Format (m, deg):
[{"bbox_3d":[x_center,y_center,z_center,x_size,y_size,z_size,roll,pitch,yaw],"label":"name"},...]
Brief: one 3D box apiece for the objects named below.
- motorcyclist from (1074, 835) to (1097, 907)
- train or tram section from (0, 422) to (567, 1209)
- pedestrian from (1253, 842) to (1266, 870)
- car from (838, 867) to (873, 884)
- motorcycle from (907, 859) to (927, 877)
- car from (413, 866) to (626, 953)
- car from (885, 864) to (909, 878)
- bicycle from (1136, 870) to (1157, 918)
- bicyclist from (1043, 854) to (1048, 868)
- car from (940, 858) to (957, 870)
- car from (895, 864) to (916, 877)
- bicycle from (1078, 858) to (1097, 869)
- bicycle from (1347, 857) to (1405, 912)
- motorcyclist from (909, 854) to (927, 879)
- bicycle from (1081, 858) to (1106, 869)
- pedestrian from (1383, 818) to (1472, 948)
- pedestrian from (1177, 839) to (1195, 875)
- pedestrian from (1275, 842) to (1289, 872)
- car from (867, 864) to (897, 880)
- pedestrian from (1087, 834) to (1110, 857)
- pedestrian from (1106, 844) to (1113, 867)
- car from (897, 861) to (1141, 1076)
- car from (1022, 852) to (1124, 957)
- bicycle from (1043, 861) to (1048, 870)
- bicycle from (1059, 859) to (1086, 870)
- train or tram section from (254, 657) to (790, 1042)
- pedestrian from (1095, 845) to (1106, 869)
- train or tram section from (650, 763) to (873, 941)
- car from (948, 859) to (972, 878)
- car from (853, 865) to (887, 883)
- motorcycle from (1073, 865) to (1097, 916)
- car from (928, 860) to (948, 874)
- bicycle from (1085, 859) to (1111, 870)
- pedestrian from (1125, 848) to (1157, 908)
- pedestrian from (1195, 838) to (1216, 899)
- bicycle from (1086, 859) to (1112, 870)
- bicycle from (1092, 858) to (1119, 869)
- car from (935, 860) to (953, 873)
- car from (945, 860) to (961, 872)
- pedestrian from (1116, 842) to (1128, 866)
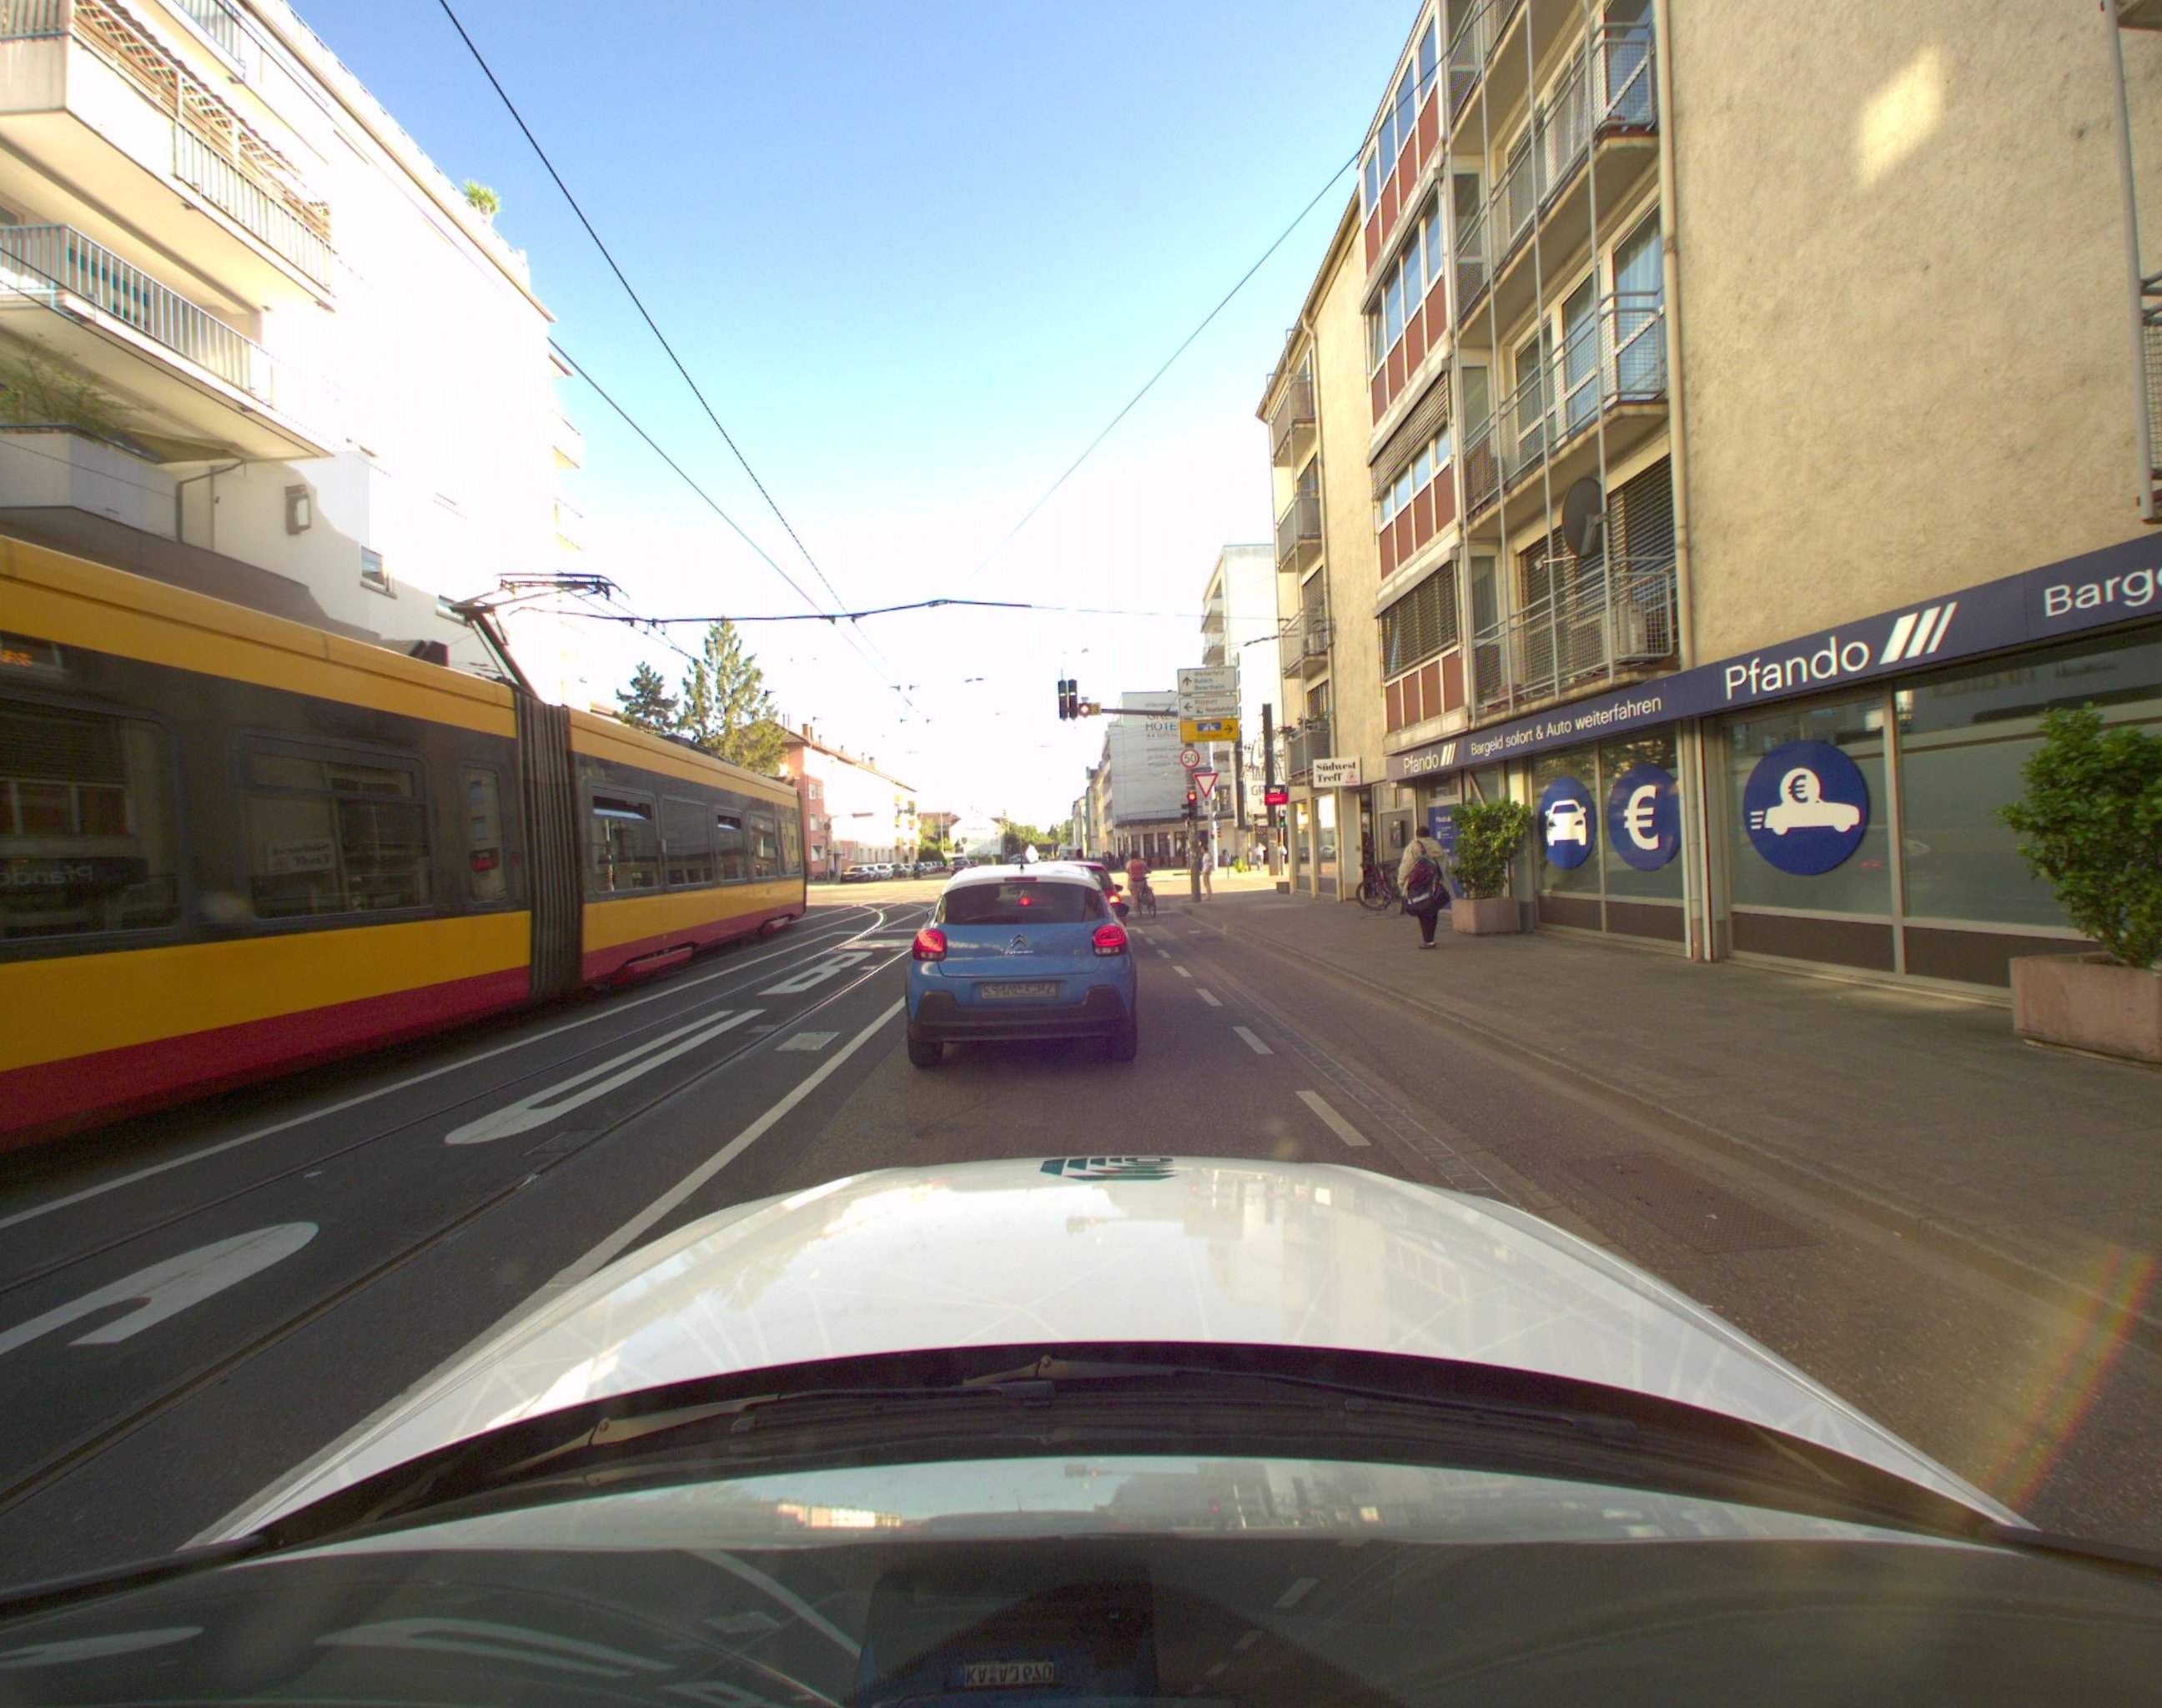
[{"bbox_3d":[0.120,0.402,19.756,0.524,1.716,0.717,0,-1,2],"label":"motorcyclist"},{"bbox_3d":[-6.392,-0.136,1.403,3.053,3.593,12.623,-3,0,-1],"label":"train or tram section"},{"bbox_3d":[10.437,0.126,47.703,0.731,1.601,0.751,-1,-1,12],"label":"pedestrian"},{"bbox_3d":[-19.188,1.818,69.426,1.787,1.421,3.996,0,-1,1],"label":"car"},{"bbox_3d":[-13.543,1.150,67.256,0.921,1.486,3.724,0,-1,-1],"label":"motorcycle"},{"bbox_3d":[-11.974,1.106,17.756,1.864,1.531,4.068,-2,0,-2],"label":"car"},{"bbox_3d":[-19.553,1.779,86.726,1.781,1.498,3.998,0,-1,-1],"label":"car"},{"bbox_3d":[1.650,0.975,20.604,0.426,1.123,1.999,0,-1,2],"label":"bicycle"},{"bbox_3d":[-3.592,0.717,82.340,0.560,1.477,0.746,0,-1,-5],"label":"bicyclist"},{"bbox_3d":[-19.017,1.425,117.316,1.828,1.687,3.998,0,-1,-1],"label":"car"},{"bbox_3d":[-19.965,1.857,92.844,1.728,1.498,3.996,0,-1,-2],"label":"car"},{"bbox_3d":[0.536,0.821,69.510,1.765,0.901,0.369,-1,-1,36],"label":"bicycle"},{"bbox_3d":[5.696,0.568,15.815,0.540,0.998,1.706,0,-1,2],"label":"bicycle"},{"bbox_3d":[-13.514,1.052,67.531,1.182,2.013,1.275,-2,0,-1],"label":"motorcyclist"},{"bbox_3d":[1.059,0.821,68.429,2.130,0.901,0.366,0,-1,-7],"label":"bicycle"},{"bbox_3d":[4.420,0.362,10.429,0.822,1.593,0.751,0,-1,1],"label":"pedestrian"},{"bbox_3d":[6.047,0.172,46.988,0.922,2.014,0.760,0,-1,1],"label":"pedestrian"},{"bbox_3d":[11.540,0.182,46.680,0.747,1.657,0.886,-1,-1,12],"label":"pedestrian"},{"bbox_3d":[-19.415,1.746,79.629,1.781,1.511,4.150,0,-1,1],"label":"car"},{"bbox_3d":[1.632,-0.726,73.697,1.986,2.014,4.001,0,-1,2],"label":"pedestrian"},{"bbox_3d":[2.490,0.145,70.430,0.575,2.014,0.625,0,-1,-1],"label":"pedestrian"},{"bbox_3d":[-0.368,0.795,7.298,1.648,1.444,3.524,0,-1,2],"label":"car"},{"bbox_3d":[-0.068,0.753,13.327,1.419,1.467,2.925,-2,-1,2],"label":"car"},{"bbox_3d":[-3.598,1.130,82.370,0.348,0.903,1.855,0,-1,-6],"label":"bicycle"},{"bbox_3d":[-0.709,0.878,66.411,2.130,0.901,0.366,0,-1,-7],"label":"bicycle"},{"bbox_3d":[-6.941,-0.030,12.368,2.823,3.631,9.061,0,0,-7],"label":"train or tram section"},{"bbox_3d":[1.662,0.226,69.316,0.635,2.014,0.717,0,-1,-34],"label":"pedestrian"},{"bbox_3d":[-8.404,0.009,23.918,2.743,3.632,14.226,0,0,-8],"label":"train or tram section"},{"bbox_3d":[-11.352,1.345,76.835,1.770,1.666,3.854,0,-1,-2],"label":"car"},{"bbox_3d":[-19.182,1.788,74.250,1.808,1.498,4.302,0,-1,2],"label":"car"},{"bbox_3d":[0.113,0.836,19.564,0.524,1.139,2.290,0,-1,2],"label":"motorcycle"},{"bbox_3d":[-18.738,1.681,106.884,1.978,1.687,3.998,0,-1,-1],"label":"car"},{"bbox_3d":[1.407,0.869,67.793,2.130,0.901,0.366,0,-1,-7],"label":"bicycle"},{"bbox_3d":[1.491,0.585,20.340,0.774,1.460,0.682,0,-1,1],"label":"pedestrian"},{"bbox_3d":[3.719,0.439,24.278,0.515,1.783,0.595,0,-1,0],"label":"pedestrian"},{"bbox_3d":[1.457,0.870,67.386,2.130,0.901,0.366,0,-1,-7],"label":"bicycle"},{"bbox_3d":[1.987,0.769,66.023,2.130,0.901,0.366,0,-1,-7],"label":"bicycle"},{"bbox_3d":[-18.891,1.690,112.156,1.877,1.687,3.998,0,-1,-1],"label":"car"},{"bbox_3d":[-19.121,1.771,121.962,1.841,1.687,3.872,0,-1,-1],"label":"car"},{"bbox_3d":[3.493,0.020,69.445,0.711,2.014,0.755,0,-1,-18],"label":"pedestrian"}]
